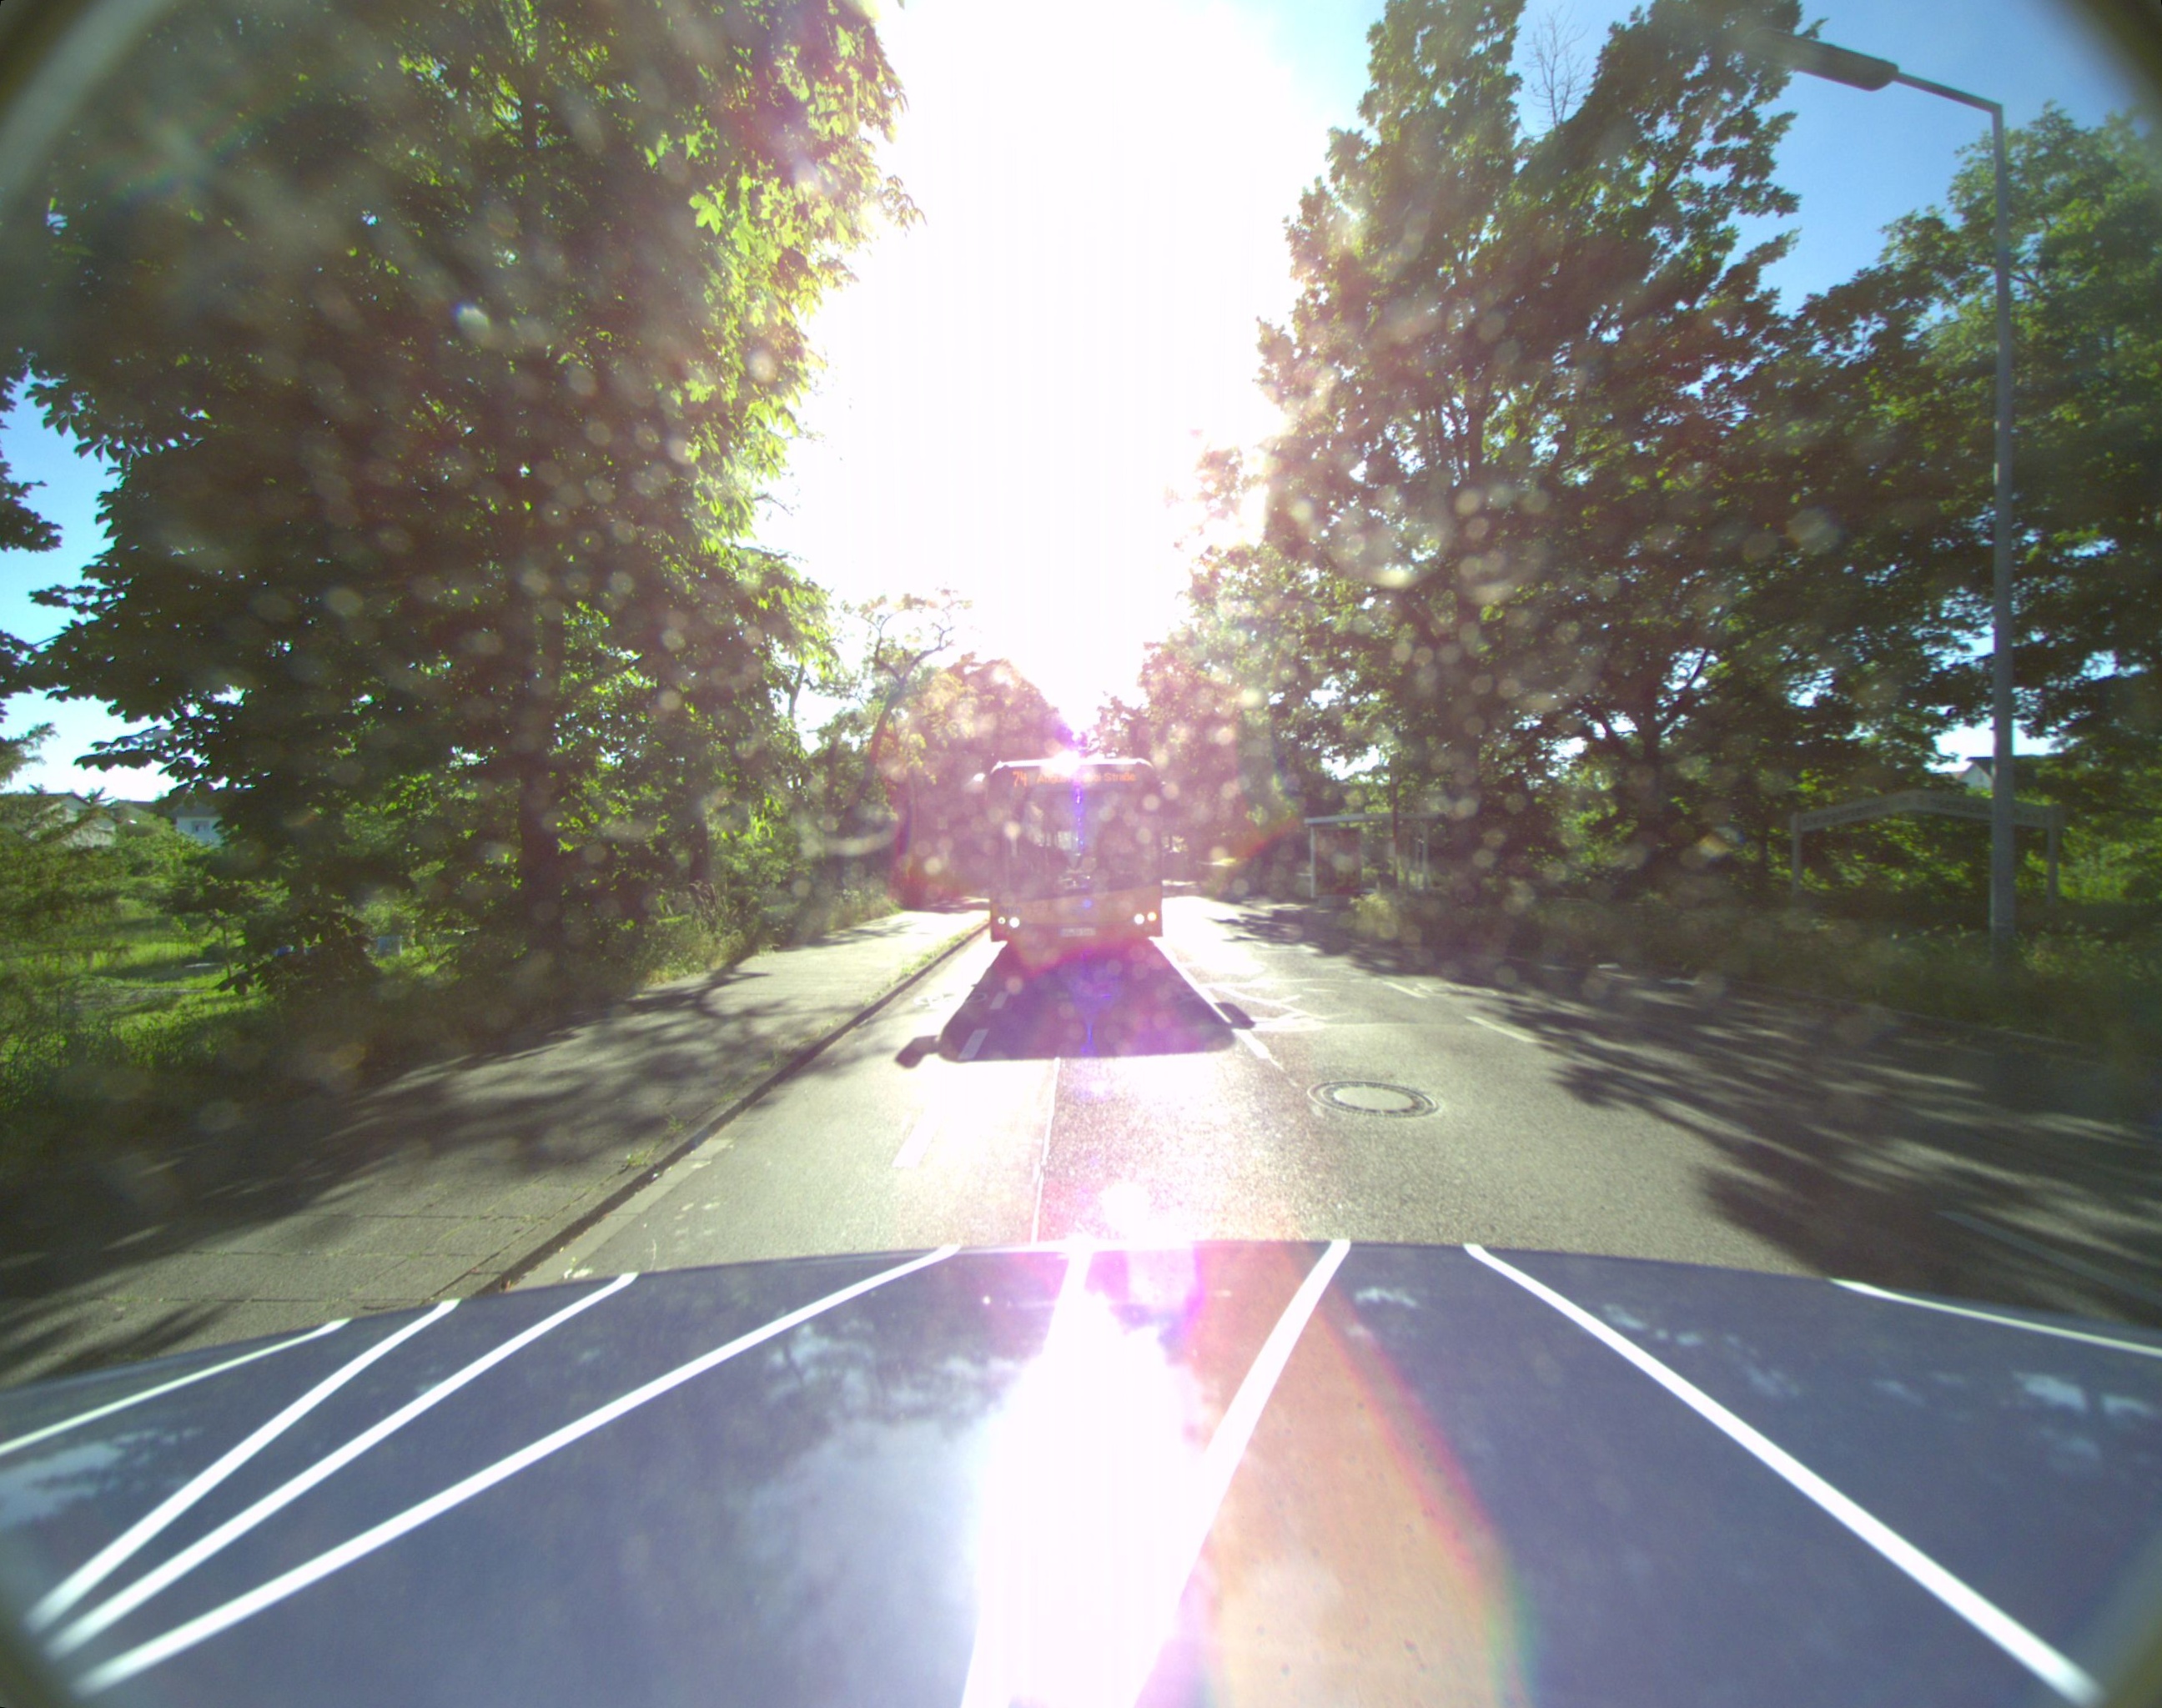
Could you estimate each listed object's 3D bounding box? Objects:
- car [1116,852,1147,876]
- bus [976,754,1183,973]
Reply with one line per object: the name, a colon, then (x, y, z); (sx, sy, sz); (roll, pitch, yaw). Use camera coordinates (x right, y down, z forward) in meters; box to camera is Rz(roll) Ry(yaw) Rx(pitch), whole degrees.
car: (3.371, 0.625, 51.403); (1.756, 1.554, 4.119); (0, 0, -1)
bus: (-0.090, 0.140, 17.111); (2.790, 2.965, 12.893); (-2, 0, -1)
